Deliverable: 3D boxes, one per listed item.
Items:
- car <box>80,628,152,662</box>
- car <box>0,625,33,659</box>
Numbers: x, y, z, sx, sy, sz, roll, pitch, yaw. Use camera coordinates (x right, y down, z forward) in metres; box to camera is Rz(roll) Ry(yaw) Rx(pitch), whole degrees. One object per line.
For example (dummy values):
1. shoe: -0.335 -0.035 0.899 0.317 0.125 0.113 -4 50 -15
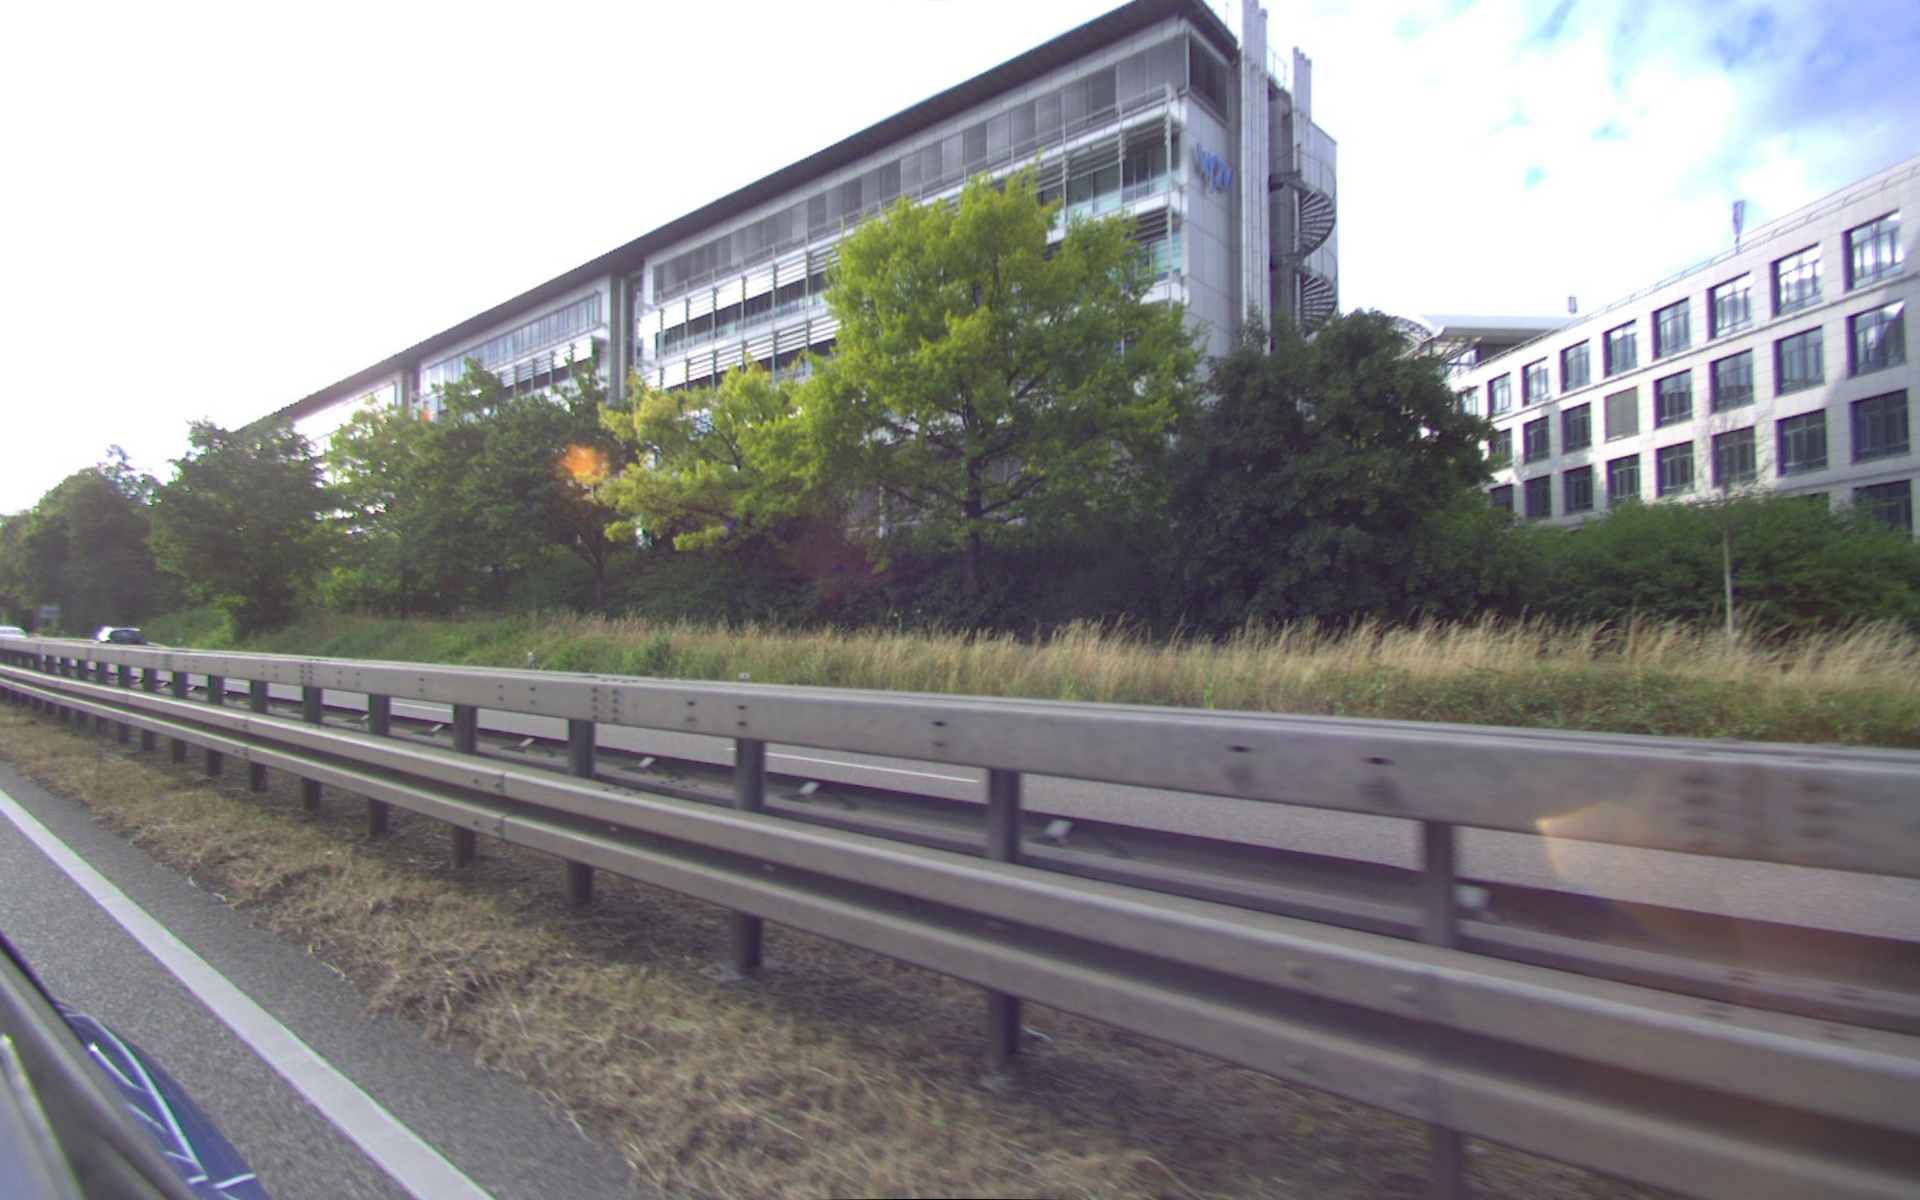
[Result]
1. car: -37.669 1.986 45.110 4.564 1.433 1.738 -2 -4 42
2. car: -41.718 1.809 43.728 4.562 1.389 1.816 -2 -4 40
